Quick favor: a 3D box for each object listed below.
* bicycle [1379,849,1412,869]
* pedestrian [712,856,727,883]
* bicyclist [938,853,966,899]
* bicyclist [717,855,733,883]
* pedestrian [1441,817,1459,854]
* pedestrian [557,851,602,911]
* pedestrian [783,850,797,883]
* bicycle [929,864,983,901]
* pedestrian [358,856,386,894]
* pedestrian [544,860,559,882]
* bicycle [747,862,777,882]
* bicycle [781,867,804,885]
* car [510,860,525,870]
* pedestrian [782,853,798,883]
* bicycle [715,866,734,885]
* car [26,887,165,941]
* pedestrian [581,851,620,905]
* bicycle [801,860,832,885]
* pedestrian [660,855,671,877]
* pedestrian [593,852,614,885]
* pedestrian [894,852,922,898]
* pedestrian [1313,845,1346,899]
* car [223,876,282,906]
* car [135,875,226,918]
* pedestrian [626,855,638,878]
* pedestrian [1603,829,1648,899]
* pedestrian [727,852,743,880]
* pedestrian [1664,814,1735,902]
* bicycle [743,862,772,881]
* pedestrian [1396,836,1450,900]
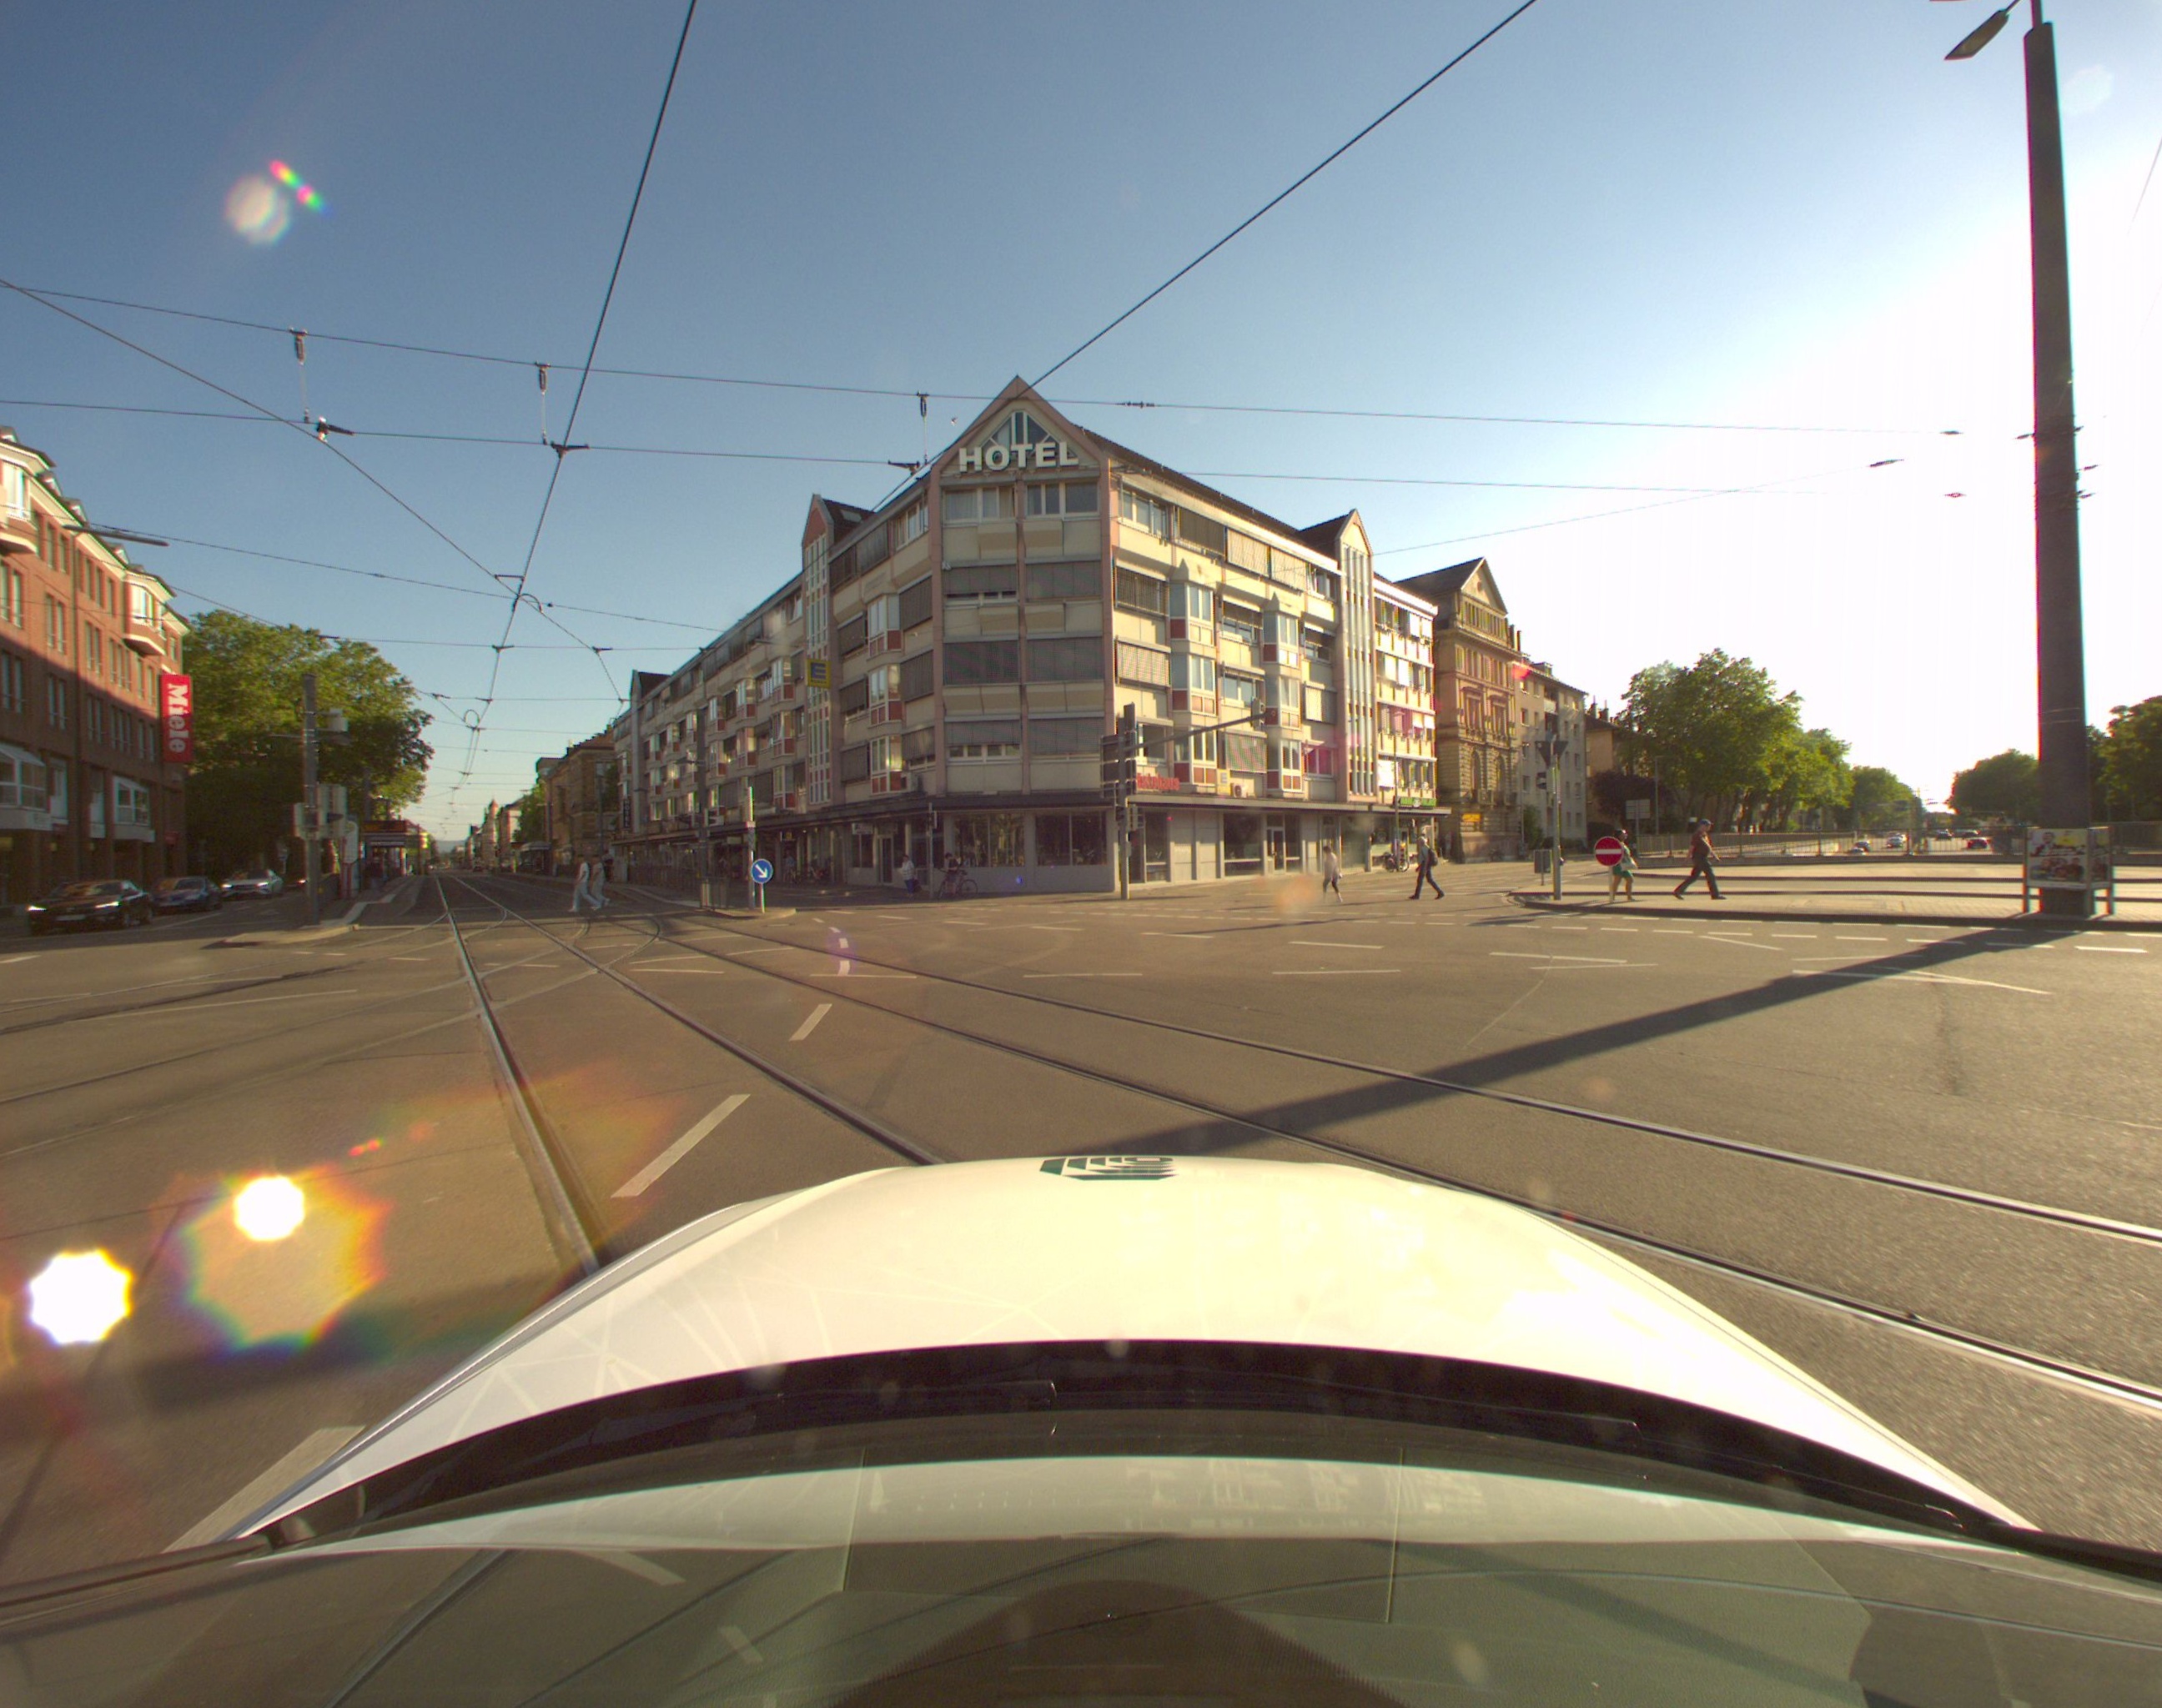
[{"bbox_3d":[17.256,0.281,44.647,2.096,1.070,0.448,-1,1,-27],"label":"bicycle"},{"bbox_3d":[-22.622,0.967,50.903,0.756,1.644,0.544,-1,1,-34],"label":"pedestrian"},{"bbox_3d":[-4.619,0.778,29.177,0.662,1.596,0.633,-5,4,-40],"label":"bicyclist"},{"bbox_3d":[-19.883,0.830,45.473,0.631,1.532,0.793,-5,3,-33],"label":"bicyclist"},{"bbox_3d":[24.663,-1.240,54.487,0.917,2.398,0.967,1,1,36],"label":"pedestrian"},{"bbox_3d":[-15.249,0.813,24.771,0.504,1.764,1.012,0,1,27],"label":"pedestrian"},{"bbox_3d":[-16.860,0.702,47.222,0.613,1.852,0.597,-1,1,-34],"label":"pedestrian"},{"bbox_3d":[-4.487,0.995,29.297,1.779,1.145,0.633,-5,4,-40],"label":"bicycle"},{"bbox_3d":[-30.416,0.904,34.957,0.614,1.577,0.695,0,1,26],"label":"pedestrian"},{"bbox_3d":[-41.117,1.350,63.221,0.675,1.659,0.786,1,1,40],"label":"pedestrian"},{"bbox_3d":[-19.582,1.109,50.046,1.659,1.119,0.478,-1,2,-44],"label":"bicycle"},{"bbox_3d":[-15.351,1.162,43.363,0.504,0.917,2.055,-1,0,-38],"label":"bicycle"},{"bbox_3d":[-100.350,1.938,145.098,2.009,1.552,3.956,-1,2,-37],"label":"car"},{"bbox_3d":[-16.066,0.791,45.001,0.606,1.635,0.604,0,1,2],"label":"pedestrian"},{"bbox_3d":[-19.983,1.196,45.657,0.631,0.930,1.891,-5,3,-33],"label":"bicycle"},{"bbox_3d":[-29.495,1.738,24.518,1.758,1.244,3.894,-1,2,-37],"label":"car"},{"bbox_3d":[-15.349,0.755,26.015,0.617,1.694,0.871,0,1,15],"label":"pedestrian"},{"bbox_3d":[-13.370,0.916,41.113,0.733,1.226,2.306,-1,0,-38],"label":"bicycle"},{"bbox_3d":[-38.799,1.125,75.967,0.779,2.013,0.499,-3,2,-36],"label":"pedestrian"},{"bbox_3d":[-24.879,0.729,42.427,0.675,1.659,0.786,1,1,40],"label":"pedestrian"},{"bbox_3d":[-6.420,0.763,30.233,0.708,1.662,0.637,-2,0,23],"label":"pedestrian"},{"bbox_3d":[6.877,0.504,22.535,0.847,1.465,0.689,0,-4,17],"label":"pedestrian"},{"bbox_3d":[-45.932,2.011,45.212,1.759,1.424,3.893,-1,2,-38],"label":"car"},{"bbox_3d":[-35.927,1.641,32.605,1.759,1.424,3.893,-1,2,-38],"label":"car"},{"bbox_3d":[-40.537,1.102,73.533,0.845,2.013,0.769,-1,1,-35],"label":"pedestrian"},{"bbox_3d":[11.728,0.194,17.540,0.698,1.453,0.862,1,2,42],"label":"pedestrian"},{"bbox_3d":[-22.694,0.784,53.467,0.819,1.778,0.677,0,1,-14],"label":"pedestrian"},{"bbox_3d":[13.724,0.066,18.070,1.183,1.883,0.862,1,2,42],"label":"pedestrian"},{"bbox_3d":[-20.347,1.082,51.238,1.659,1.119,0.559,-1,2,-44],"label":"bicycle"},{"bbox_3d":[9.634,0.362,22.918,1.183,1.731,0.862,1,2,42],"label":"pedestrian"}]
